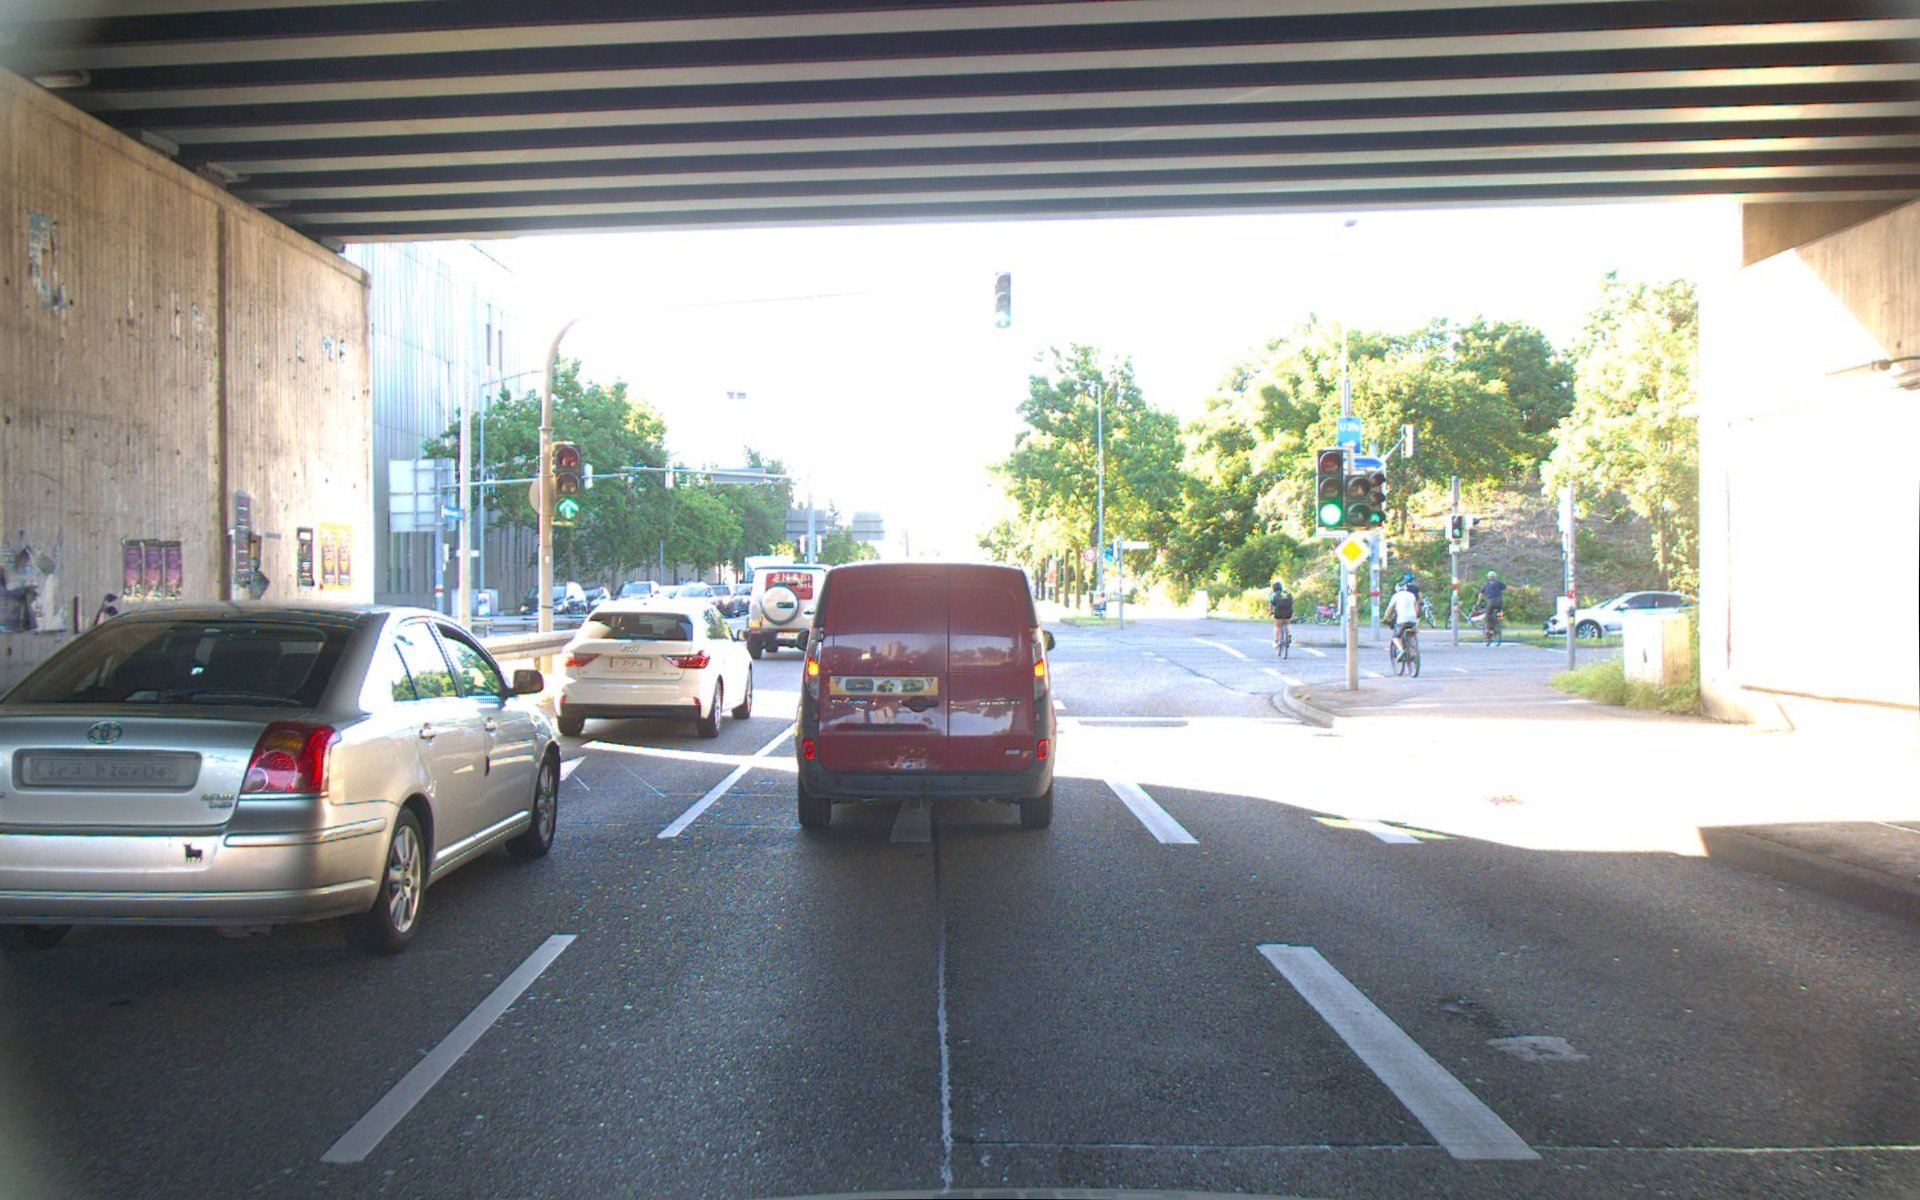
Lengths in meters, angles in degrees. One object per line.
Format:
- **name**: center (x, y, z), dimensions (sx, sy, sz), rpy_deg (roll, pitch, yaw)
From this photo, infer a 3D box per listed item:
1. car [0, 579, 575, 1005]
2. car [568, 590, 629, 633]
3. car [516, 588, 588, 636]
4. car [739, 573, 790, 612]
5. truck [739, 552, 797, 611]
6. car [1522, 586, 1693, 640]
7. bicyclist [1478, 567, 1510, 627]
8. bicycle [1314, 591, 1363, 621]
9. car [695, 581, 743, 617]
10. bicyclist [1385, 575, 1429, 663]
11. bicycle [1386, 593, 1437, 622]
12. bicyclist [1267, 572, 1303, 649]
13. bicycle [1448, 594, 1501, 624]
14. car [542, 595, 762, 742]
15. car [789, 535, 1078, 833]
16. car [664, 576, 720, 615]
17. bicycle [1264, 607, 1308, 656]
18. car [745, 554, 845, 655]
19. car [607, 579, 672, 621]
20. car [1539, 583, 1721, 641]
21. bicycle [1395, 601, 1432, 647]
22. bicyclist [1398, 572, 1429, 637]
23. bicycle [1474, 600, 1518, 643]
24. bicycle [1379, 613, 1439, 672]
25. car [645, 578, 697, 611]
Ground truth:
- **car**: center (-3.140, 0.697, 8.039), dimensions (1.698, 1.506, 4.316), rpy_deg (0, -1, -2)
- **car**: center (-16.306, 0.498, 74.802), dimensions (1.788, 1.768, 4.528), rpy_deg (-3, 0, -1)
- **car**: center (-16.255, 0.455, 66.109), dimensions (1.788, 1.768, 4.628), rpy_deg (-3, 0, -1)
- **car**: center (-8.043, -0.300, 68.247), dimensions (1.602, 1.468, 3.718), rpy_deg (-3, 0, 0)
- **truck**: center (-10.714, -1.011, 92.820), dimensions (2.360, 3.079, 6.656), rpy_deg (-2, 0, 0)
- **car**: center (19.301, 0.392, 49.437), dimensions (4.451, 1.540, 1.829), rpy_deg (1, -1, 6)
- **bicyclist**: center (13.726, -0.080, 42.505), dimensions (0.635, 1.507, 0.618), rpy_deg (0, 0, 4)
- **bicycle**: center (13.869, 0.219, 60.593), dimensions (1.707, 1.041, 0.594), rpy_deg (1, -1, 8)
- **car**: center (-10.679, -0.046, 73.545), dimensions (1.603, 1.468, 4.075), rpy_deg (-3, 0, -2)
- **bicyclist**: center (8.098, 0.345, 29.997), dimensions (0.580, 1.576, 0.769), rpy_deg (1, -1, -1)
- **bicycle**: center (16.160, 0.271, 59.254), dimensions (1.707, 1.041, 0.594), rpy_deg (1, -1, 8)
- **bicyclist**: center (7.087, 0.233, 36.111), dimensions (0.580, 1.642, 0.942), rpy_deg (1, -1, -1)
- **bicycle**: center (18.101, 0.328, 58.188), dimensions (1.707, 1.041, 0.594), rpy_deg (1, -1, 10)
- **car**: center (-3.347, 0.686, 18.620), dimensions (1.776, 1.463, 3.731), rpy_deg (0, 0, 0)
- **car**: center (-0.199, 0.555, 12.257), dimensions (1.768, 1.826, 3.999), rpy_deg (1, -1, -1)
- **car**: center (-10.934, -0.187, 67.766), dimensions (1.602, 1.468, 4.076), rpy_deg (-3, 0, 0)
- **bicycle**: center (7.096, 0.690, 36.107), dimensions (0.580, 1.041, 1.750), rpy_deg (1, -1, -1)
- **car**: center (-3.509, 0.124, 35.934), dimensions (1.764, 2.023, 4.587), rpy_deg (1, -1, -1)
- **car**: center (-13.448, -0.003, 69.570), dimensions (1.787, 1.653, 4.529), rpy_deg (-3, 0, 0)
- **car**: center (18.920, 0.346, 46.886), dimensions (4.451, 1.540, 1.829), rpy_deg (1, -1, 6)
- **bicycle**: center (10.727, 0.577, 39.174), dimensions (0.657, 1.041, 2.057), rpy_deg (0, -1, 10)
- **bicyclist**: center (10.707, 0.106, 39.042), dimensions (0.650, 1.500, 0.751), rpy_deg (0, -1, 11)
- **bicycle**: center (13.724, 0.546, 42.363), dimensions (0.653, 1.041, 1.751), rpy_deg (0, 1, 4)
- **bicycle**: center (8.121, 0.760, 29.975), dimensions (0.580, 1.041, 1.750), rpy_deg (1, -1, -1)
- **car**: center (-13.472, -0.236, 77.317), dimensions (1.612, 1.429, 3.978), rpy_deg (-3, 0, 1)
